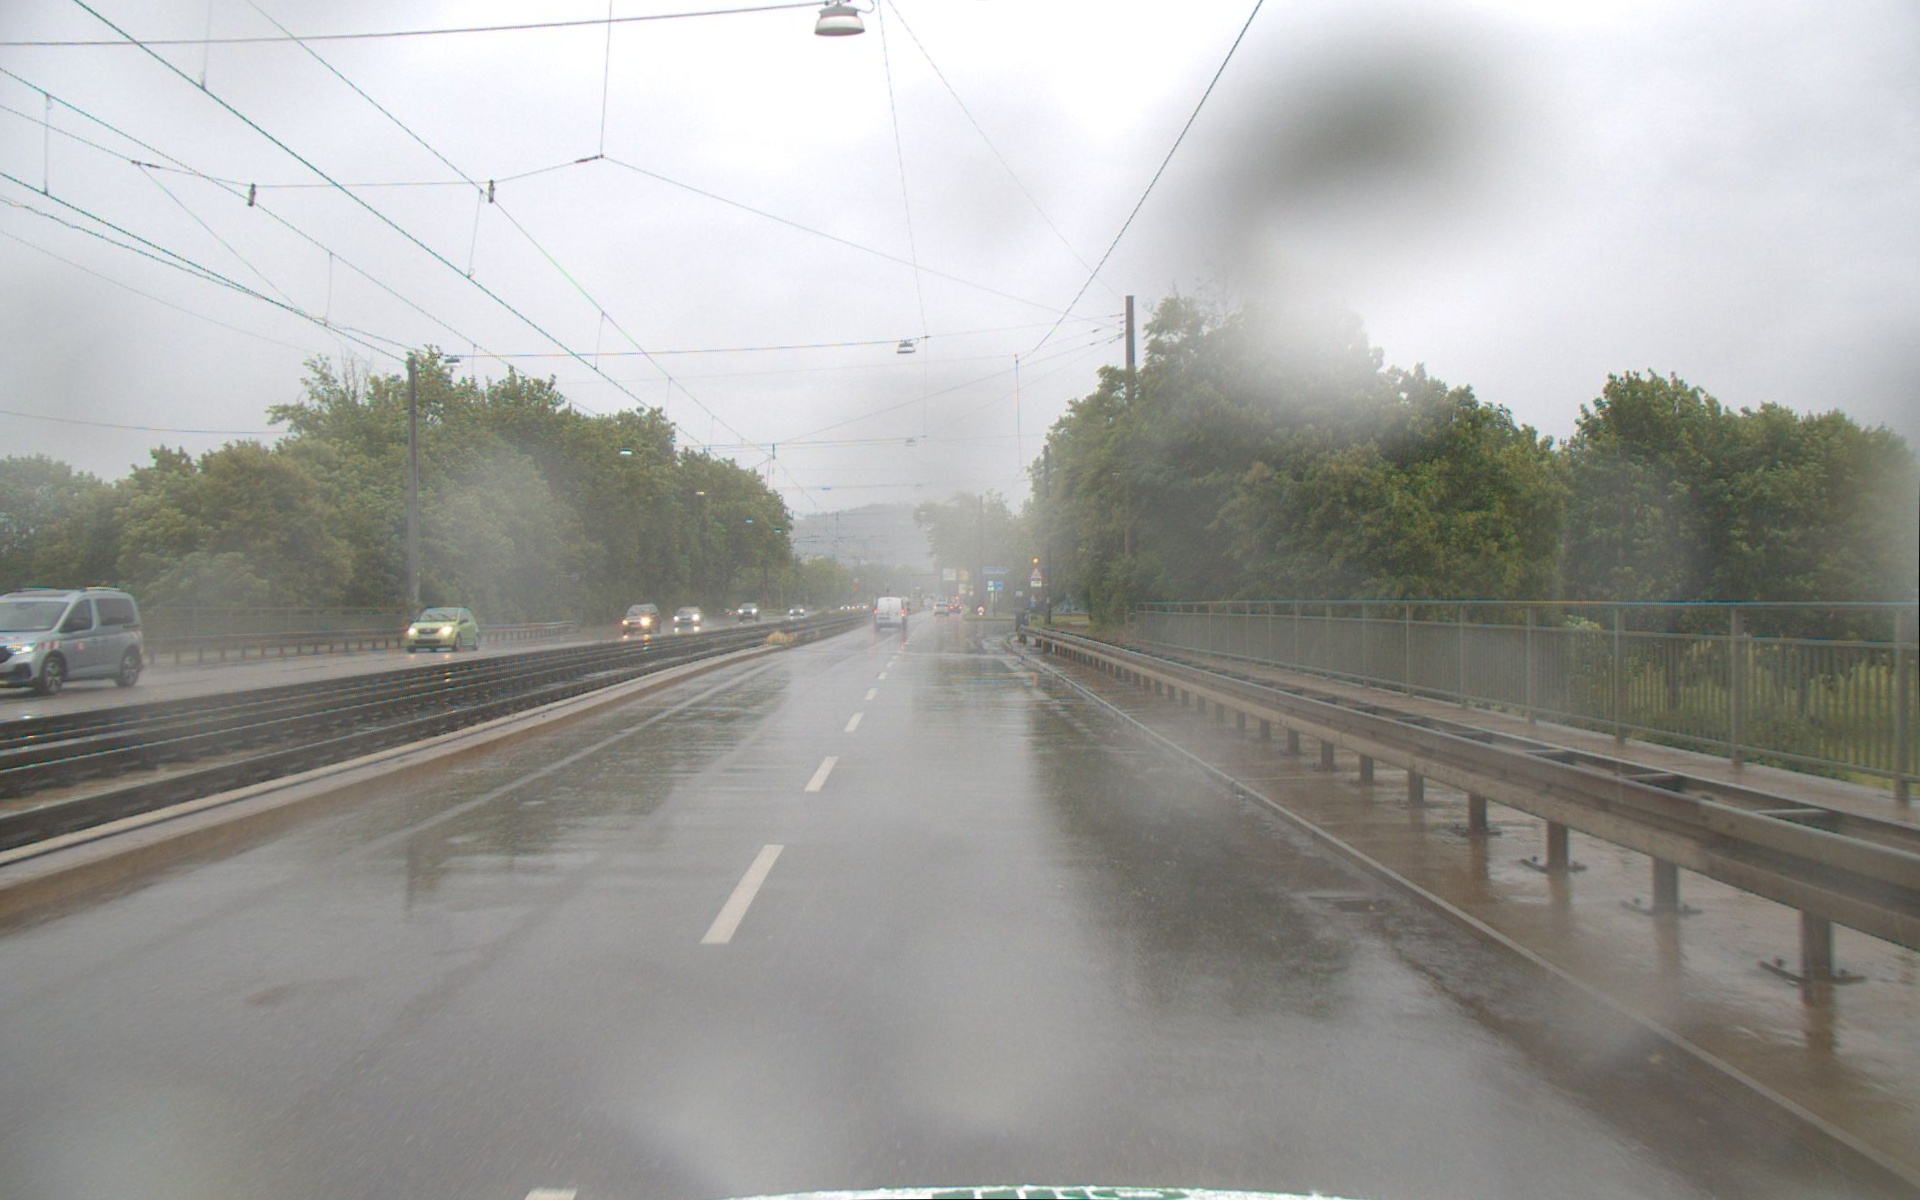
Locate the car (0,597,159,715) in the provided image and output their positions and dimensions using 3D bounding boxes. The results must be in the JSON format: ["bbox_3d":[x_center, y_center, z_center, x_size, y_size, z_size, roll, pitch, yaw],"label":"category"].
[{"bbox_3d":[-16.105,0.921,29.117,1.811,1.863,4.393,3,-1,-1],"label":"car"}]

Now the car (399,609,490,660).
[{"bbox_3d":[-17.021,1.138,54.812,1.808,1.622,3.999,0,-1,-1],"label":"car"}]

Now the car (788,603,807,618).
[{"bbox_3d":[-21.281,1.345,216.808,1.954,1.813,3.999,5,0,-2],"label":"car"}]

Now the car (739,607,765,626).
[{"bbox_3d":[-19.315,1.492,153.923,1.953,1.702,4.870,0,0,-2],"label":"car"}]

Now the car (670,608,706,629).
[{"bbox_3d":[-19.294,1.299,117.480,1.953,1.413,4.851,0,0,-2],"label":"car"}]

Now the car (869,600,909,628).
[{"bbox_3d":[-3.835,0.761,89.974,2.035,1.445,3.999,-1,-1,-1],"label":"car"}]

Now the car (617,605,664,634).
[{"bbox_3d":[-17.644,1.082,91.462,1.803,1.601,4.384,0,-1,-1],"label":"car"}]
